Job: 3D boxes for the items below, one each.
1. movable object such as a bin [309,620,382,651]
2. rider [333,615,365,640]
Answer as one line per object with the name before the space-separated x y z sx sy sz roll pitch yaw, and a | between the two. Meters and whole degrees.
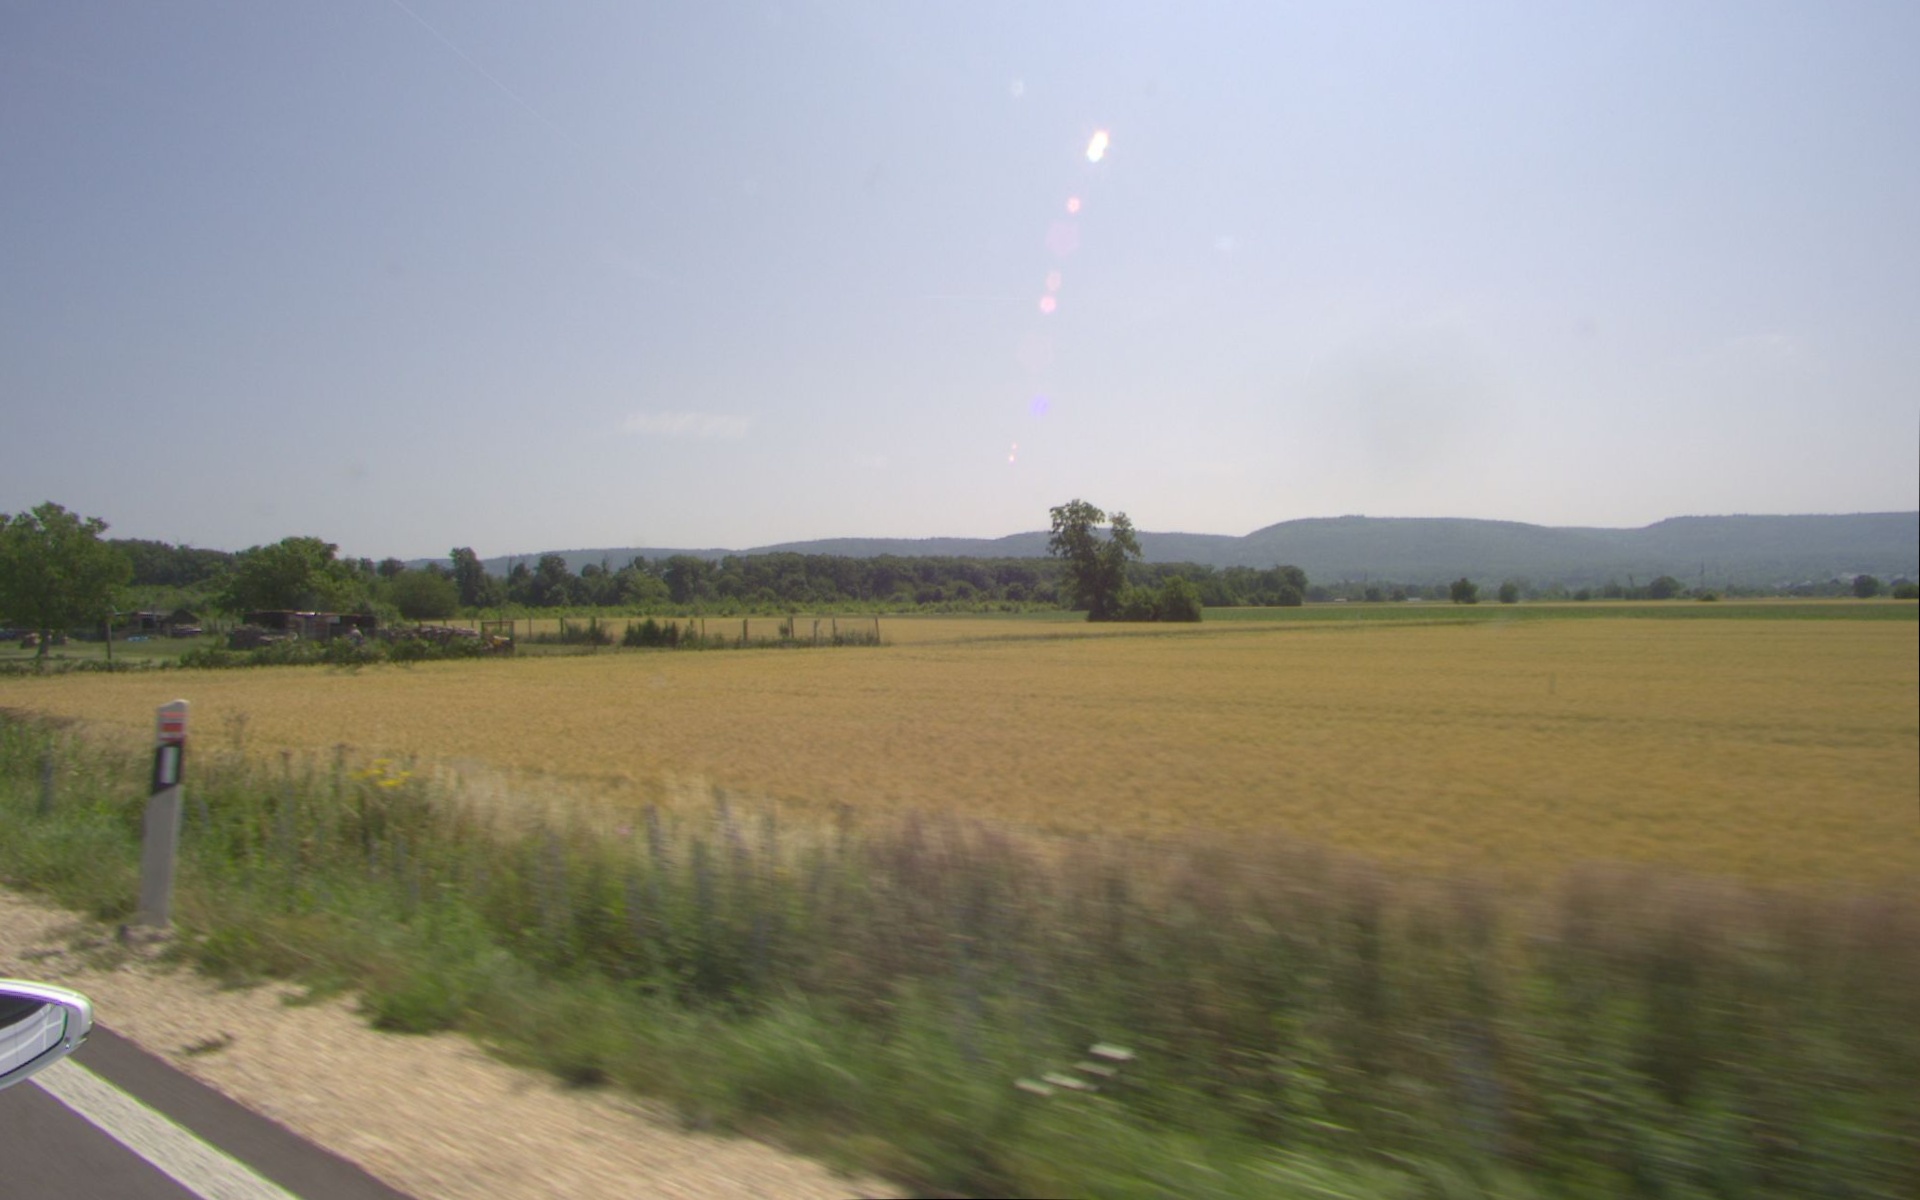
movable object such as a bin | -31.472 1.808 51.273 3.602 1.516 1.570 -1 -1 28
rider | -31.100 1.406 50.959 0.970 1.233 1.024 -1 0 26
